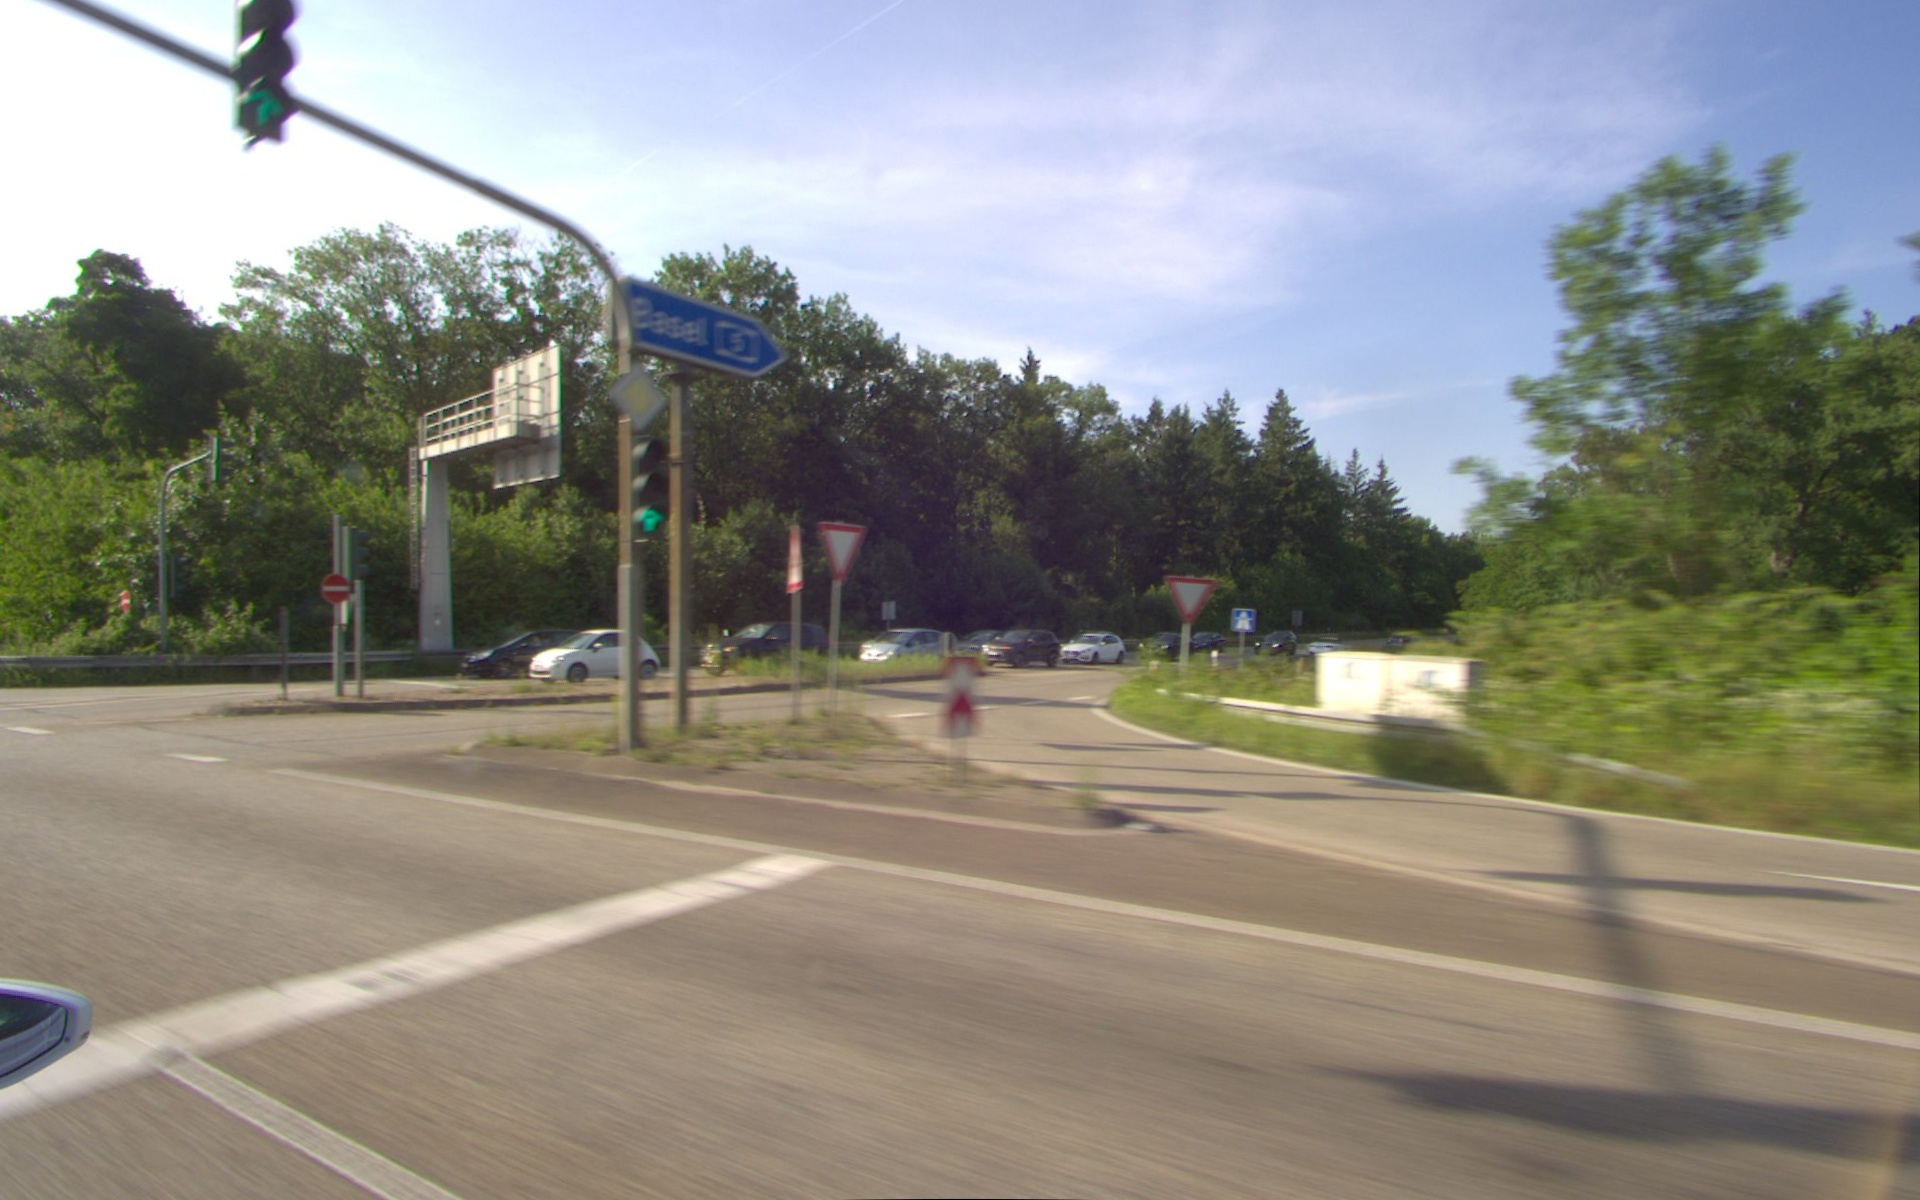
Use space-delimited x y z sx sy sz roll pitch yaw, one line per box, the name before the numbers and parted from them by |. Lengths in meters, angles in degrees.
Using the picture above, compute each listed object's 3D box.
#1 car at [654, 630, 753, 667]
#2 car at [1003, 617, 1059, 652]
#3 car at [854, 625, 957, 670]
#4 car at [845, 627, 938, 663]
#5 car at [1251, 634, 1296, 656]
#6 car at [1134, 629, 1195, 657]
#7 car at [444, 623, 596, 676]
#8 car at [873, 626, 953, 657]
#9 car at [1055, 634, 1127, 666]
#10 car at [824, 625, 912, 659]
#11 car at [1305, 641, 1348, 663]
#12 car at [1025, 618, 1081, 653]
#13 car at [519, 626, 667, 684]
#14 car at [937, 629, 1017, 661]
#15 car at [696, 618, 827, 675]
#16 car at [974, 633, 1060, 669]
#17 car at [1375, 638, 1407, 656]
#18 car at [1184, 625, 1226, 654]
car | -9.920 1.838 38.860 1.472 1.330 3.615 0 -1 36
car | 4.316 2.086 60.707 1.573 2.039 3.977 0 -2 35
car | -2.051 1.797 38.836 1.845 1.653 4.097 0 -1 36
car | -2.940 1.921 43.725 1.845 1.459 4.097 0 -1 36
car | 22.426 3.190 71.472 1.845 1.459 4.097 0 -1 36
car | 11.625 2.409 56.727 1.845 1.459 4.097 0 -1 36
car | -13.573 1.503 30.974 4.069 1.515 1.774 1 -1 -33
car | -2.300 2.041 50.075 1.845 1.459 4.097 0 -1 36
car | 6.559 2.455 49.761 1.845 1.459 4.097 0 -1 36
car | -4.203 1.906 46.241 1.845 1.459 4.097 0 -1 36
car | 25.874 3.621 70.621 1.845 1.459 4.097 0 -1 36
car | 5.551 2.113 59.245 1.573 2.039 3.977 0 -2 35
car | -10.449 1.528 28.697 1.785 1.522 3.587 0 -1 36
car | 0.878 2.149 48.168 1.845 1.459 4.097 0 -1 36
car | -6.499 1.494 33.158 1.845 1.731 4.097 0 -1 36
car | 2.548 2.205 44.127 1.845 1.459 4.097 0 -1 36
car | 37.918 4.147 88.106 1.844 1.459 4.100 0 -1 34
car | 17.338 2.785 70.653 1.573 2.039 3.977 0 -2 35
